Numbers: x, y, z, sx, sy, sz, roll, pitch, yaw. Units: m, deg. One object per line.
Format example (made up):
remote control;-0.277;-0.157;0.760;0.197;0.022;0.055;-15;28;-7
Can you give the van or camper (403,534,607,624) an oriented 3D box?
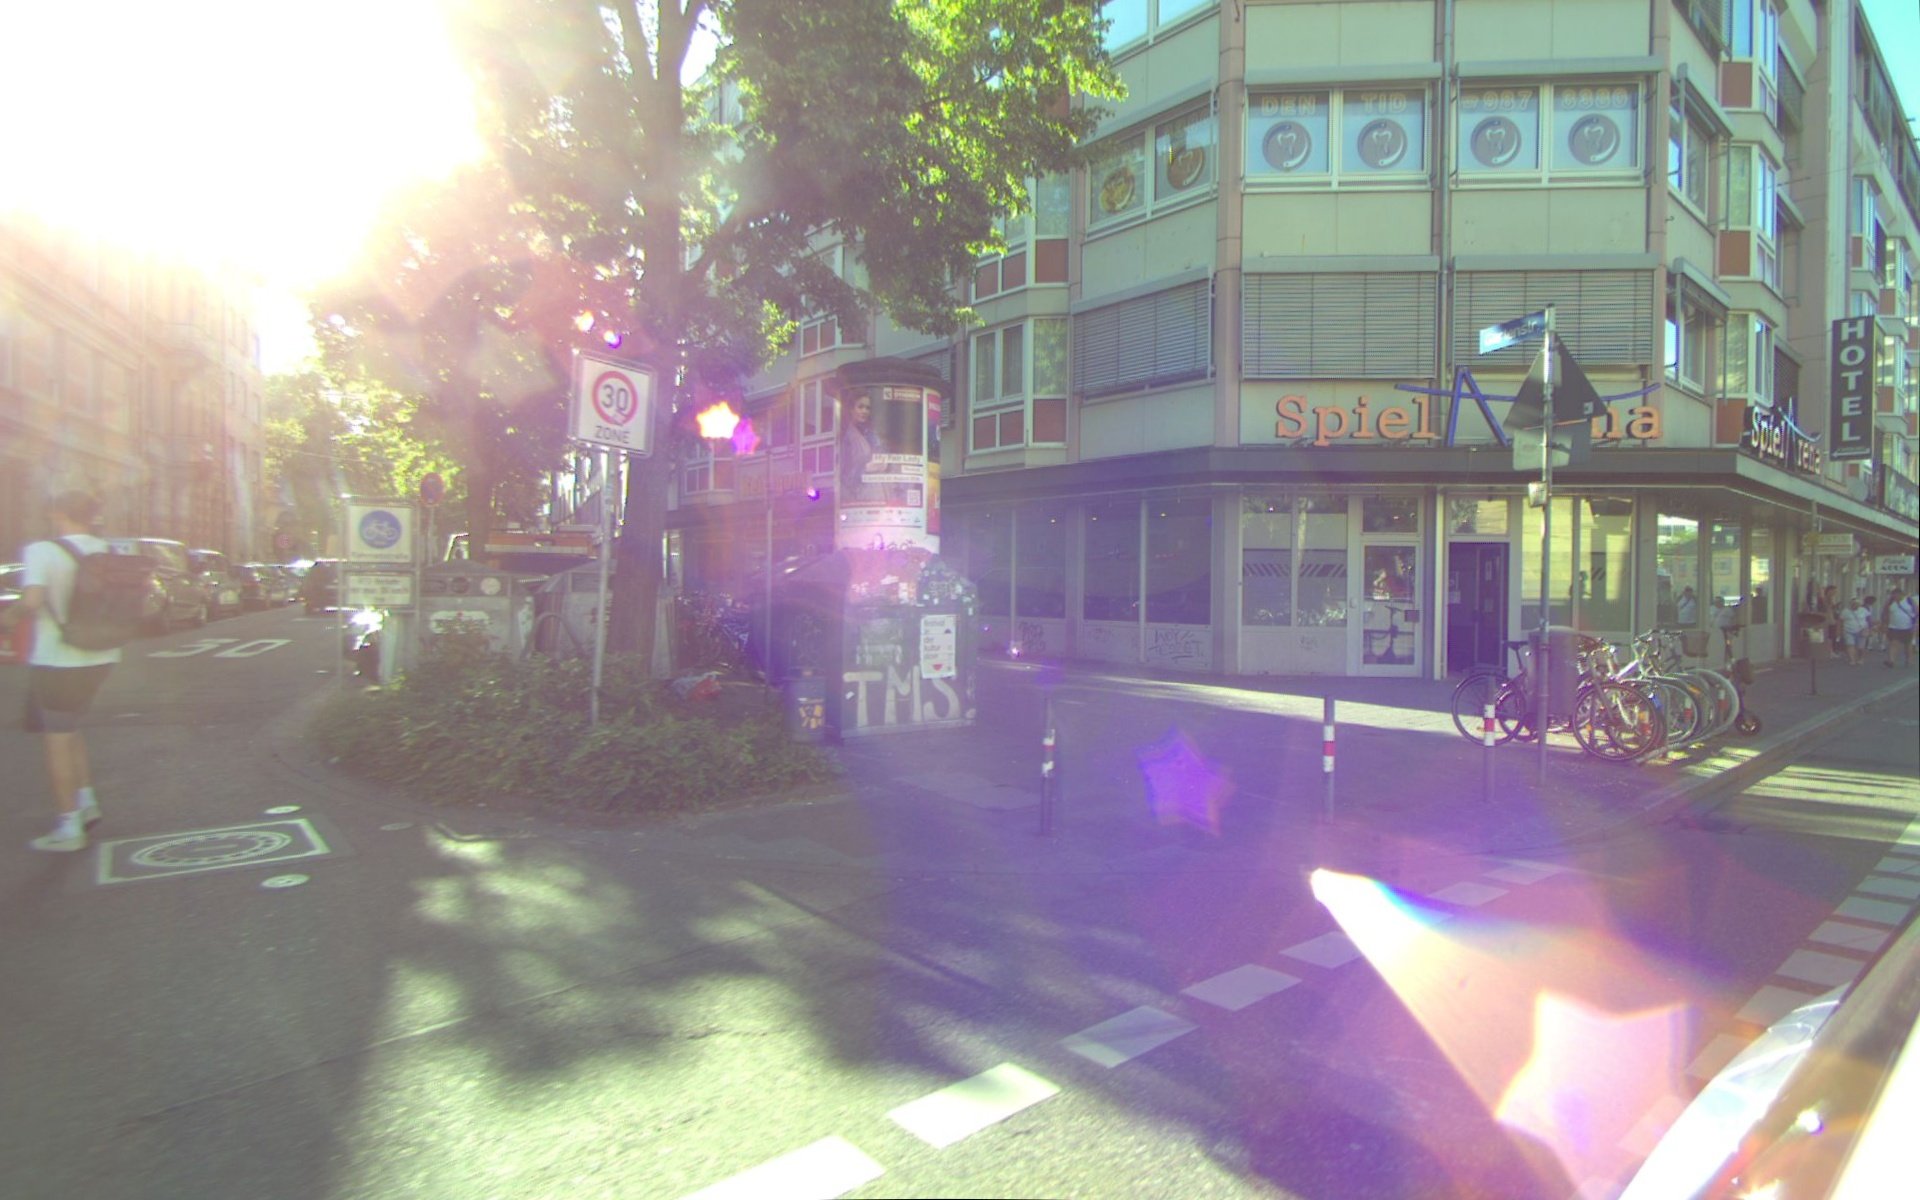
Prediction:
van or camper;-11.653;-0.526;26.228;4.637;2.165;2.095;0;1;-21

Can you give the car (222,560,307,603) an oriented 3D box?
car;-25.472;-0.734;37.204;1.959;1.485;4.008;0;2;-25

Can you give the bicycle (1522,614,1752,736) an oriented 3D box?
bicycle;7.153;0.744;10.784;0.554;1.120;1.948;0;1;-42

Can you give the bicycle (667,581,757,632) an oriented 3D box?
bicycle;-5.735;0.132;23.474;1.950;1.121;0.648;0;1;-41

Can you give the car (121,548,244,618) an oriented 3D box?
car;-20.511;-0.479;26.859;1.793;1.723;4.017;-2;2;-26

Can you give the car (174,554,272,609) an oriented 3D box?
car;-23.130;-0.602;31.915;1.793;1.585;4.017;-2;2;-26

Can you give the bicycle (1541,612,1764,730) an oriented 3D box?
bicycle;7.597;0.733;11.193;0.554;1.120;1.948;0;1;-42

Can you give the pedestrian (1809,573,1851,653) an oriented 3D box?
pedestrian;20.074;0.289;23.348;0.492;1.791;0.630;0;1;-40

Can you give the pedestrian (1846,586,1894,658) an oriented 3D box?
pedestrian;19.803;0.468;22.023;0.643;1.501;0.637;0;3;-42

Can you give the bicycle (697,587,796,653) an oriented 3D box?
bicycle;-3.869;0.341;18.346;1.660;1.153;0.599;0;1;-26

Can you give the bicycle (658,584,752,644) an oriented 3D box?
bicycle;-5.041;0.261;20.049;1.662;1.153;0.678;0;1;-34

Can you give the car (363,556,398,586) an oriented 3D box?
car;-44.491;-2.214;77.757;1.958;2.204;4.008;0;2;-24

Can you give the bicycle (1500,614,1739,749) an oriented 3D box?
bicycle;6.682;0.768;10.344;0.617;1.180;1.948;0;1;-42

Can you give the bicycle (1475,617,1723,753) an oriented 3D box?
bicycle;6.141;0.766;9.827;0.554;1.120;1.948;0;1;-42

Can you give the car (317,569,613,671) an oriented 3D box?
car;-7.573;0.247;15.787;3.917;1.414;2.004;0;1;-25

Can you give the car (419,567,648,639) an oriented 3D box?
car;-9.141;0.020;21.895;4.370;1.420;1.932;-1;1;-24

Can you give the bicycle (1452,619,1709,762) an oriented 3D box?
bicycle;5.683;0.775;9.383;0.554;1.120;1.948;0;1;-42

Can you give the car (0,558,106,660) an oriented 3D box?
car;-15.357;0.103;15.997;1.745;1.454;4.199;-1;2;-25

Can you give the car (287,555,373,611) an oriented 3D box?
car;-19.257;-0.527;31.076;1.959;1.575;4.006;0;1;-28

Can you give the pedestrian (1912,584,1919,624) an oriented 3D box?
pedestrian;40.393;0.170;42.506;0.512;1.653;0.518;0;0;-36

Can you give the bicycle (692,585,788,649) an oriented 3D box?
bicycle;-4.140;0.307;19.053;1.660;1.153;0.702;0;1;-26

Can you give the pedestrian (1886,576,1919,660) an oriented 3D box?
pedestrian;20.285;0.370;21.527;0.800;1.749;0.745;0;-1;-40

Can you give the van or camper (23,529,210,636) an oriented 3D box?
van or camper;-17.684;-0.375;21.476;1.917;2.005;4.398;0;1;-24

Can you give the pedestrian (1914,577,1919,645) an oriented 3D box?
pedestrian;26.644;0.310;27.640;0.750;1.842;0.707;0;3;-42

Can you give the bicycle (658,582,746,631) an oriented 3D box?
bicycle;-6.121;0.150;24.090;1.950;1.121;0.673;0;1;-41

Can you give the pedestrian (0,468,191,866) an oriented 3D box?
pedestrian;-4.959;0.329;5.609;0.931;2.009;0.714;1;0;19

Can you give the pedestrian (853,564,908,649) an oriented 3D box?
pedestrian;-1.544;0.118;19.561;0.817;1.593;0.688;0;1;-35

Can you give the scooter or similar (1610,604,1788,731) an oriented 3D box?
scooter or similar;8.281;0.714;11.381;0.581;1.244;1.482;0;3;-40

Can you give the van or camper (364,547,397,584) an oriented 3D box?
van or camper;-50.693;-2.998;88.609;1.958;3.151;5.384;0;2;-24

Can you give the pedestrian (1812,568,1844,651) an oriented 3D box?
pedestrian;20.129;0.215;23.465;0.798;1.872;0.451;0;2;-44

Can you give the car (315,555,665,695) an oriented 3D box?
car;-6.082;0.258;13.408;3.917;1.623;2.004;0;1;-25

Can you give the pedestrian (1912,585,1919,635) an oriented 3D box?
pedestrian;31.674;0.327;33.154;0.544;1.610;0.601;0;1;-41

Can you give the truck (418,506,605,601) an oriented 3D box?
truck;-14.739;-1.452;33.420;5.464;2.948;2.107;0;1;-26

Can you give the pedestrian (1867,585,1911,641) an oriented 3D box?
pedestrian;25.571;0.341;27.867;0.694;1.490;0.740;0;3;-40
